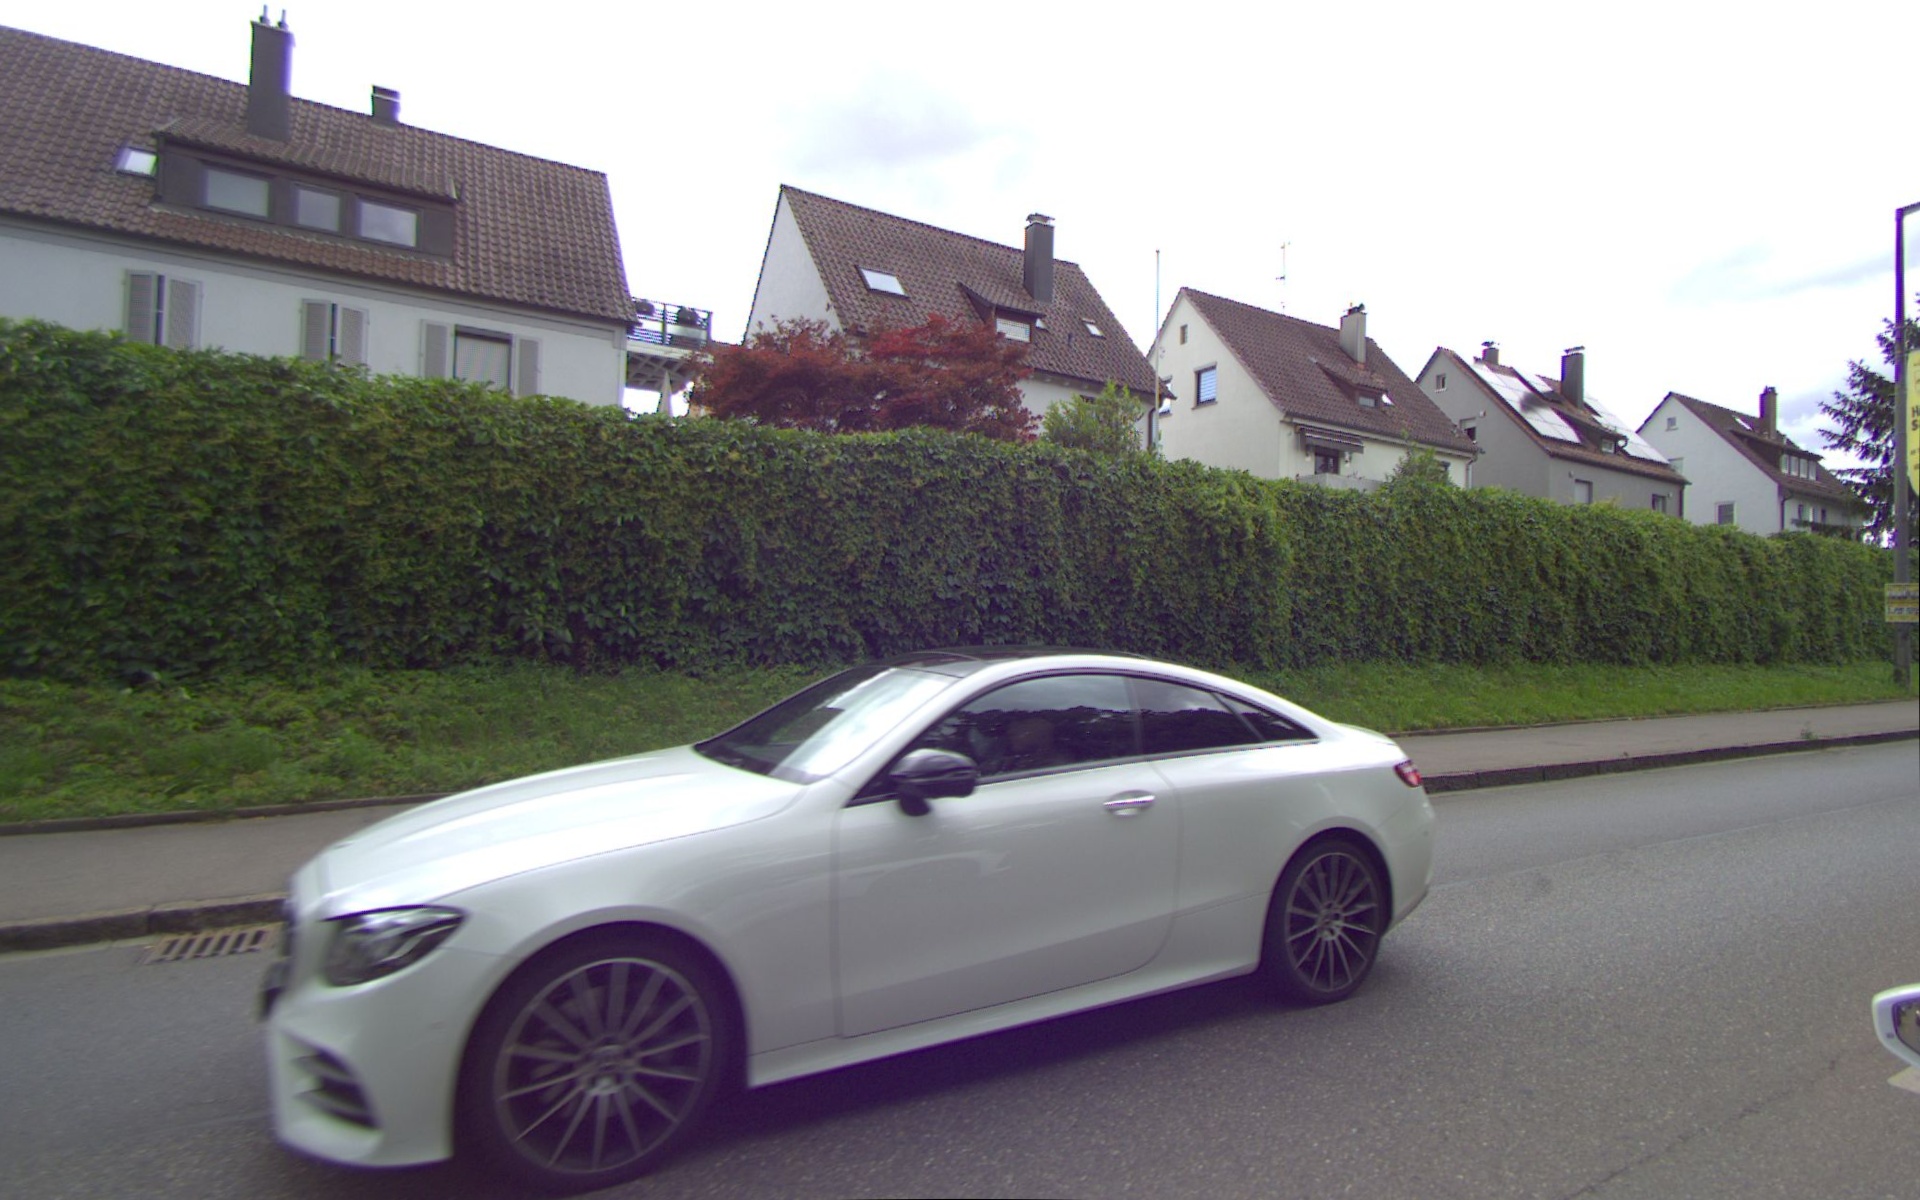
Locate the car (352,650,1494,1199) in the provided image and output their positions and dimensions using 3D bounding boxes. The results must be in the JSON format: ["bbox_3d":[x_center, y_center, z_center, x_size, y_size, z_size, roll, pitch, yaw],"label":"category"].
[{"bbox_3d":[0.052,0.925,4.269,4.438,1.401,1.877,1,-3,-31],"label":"car"}]
